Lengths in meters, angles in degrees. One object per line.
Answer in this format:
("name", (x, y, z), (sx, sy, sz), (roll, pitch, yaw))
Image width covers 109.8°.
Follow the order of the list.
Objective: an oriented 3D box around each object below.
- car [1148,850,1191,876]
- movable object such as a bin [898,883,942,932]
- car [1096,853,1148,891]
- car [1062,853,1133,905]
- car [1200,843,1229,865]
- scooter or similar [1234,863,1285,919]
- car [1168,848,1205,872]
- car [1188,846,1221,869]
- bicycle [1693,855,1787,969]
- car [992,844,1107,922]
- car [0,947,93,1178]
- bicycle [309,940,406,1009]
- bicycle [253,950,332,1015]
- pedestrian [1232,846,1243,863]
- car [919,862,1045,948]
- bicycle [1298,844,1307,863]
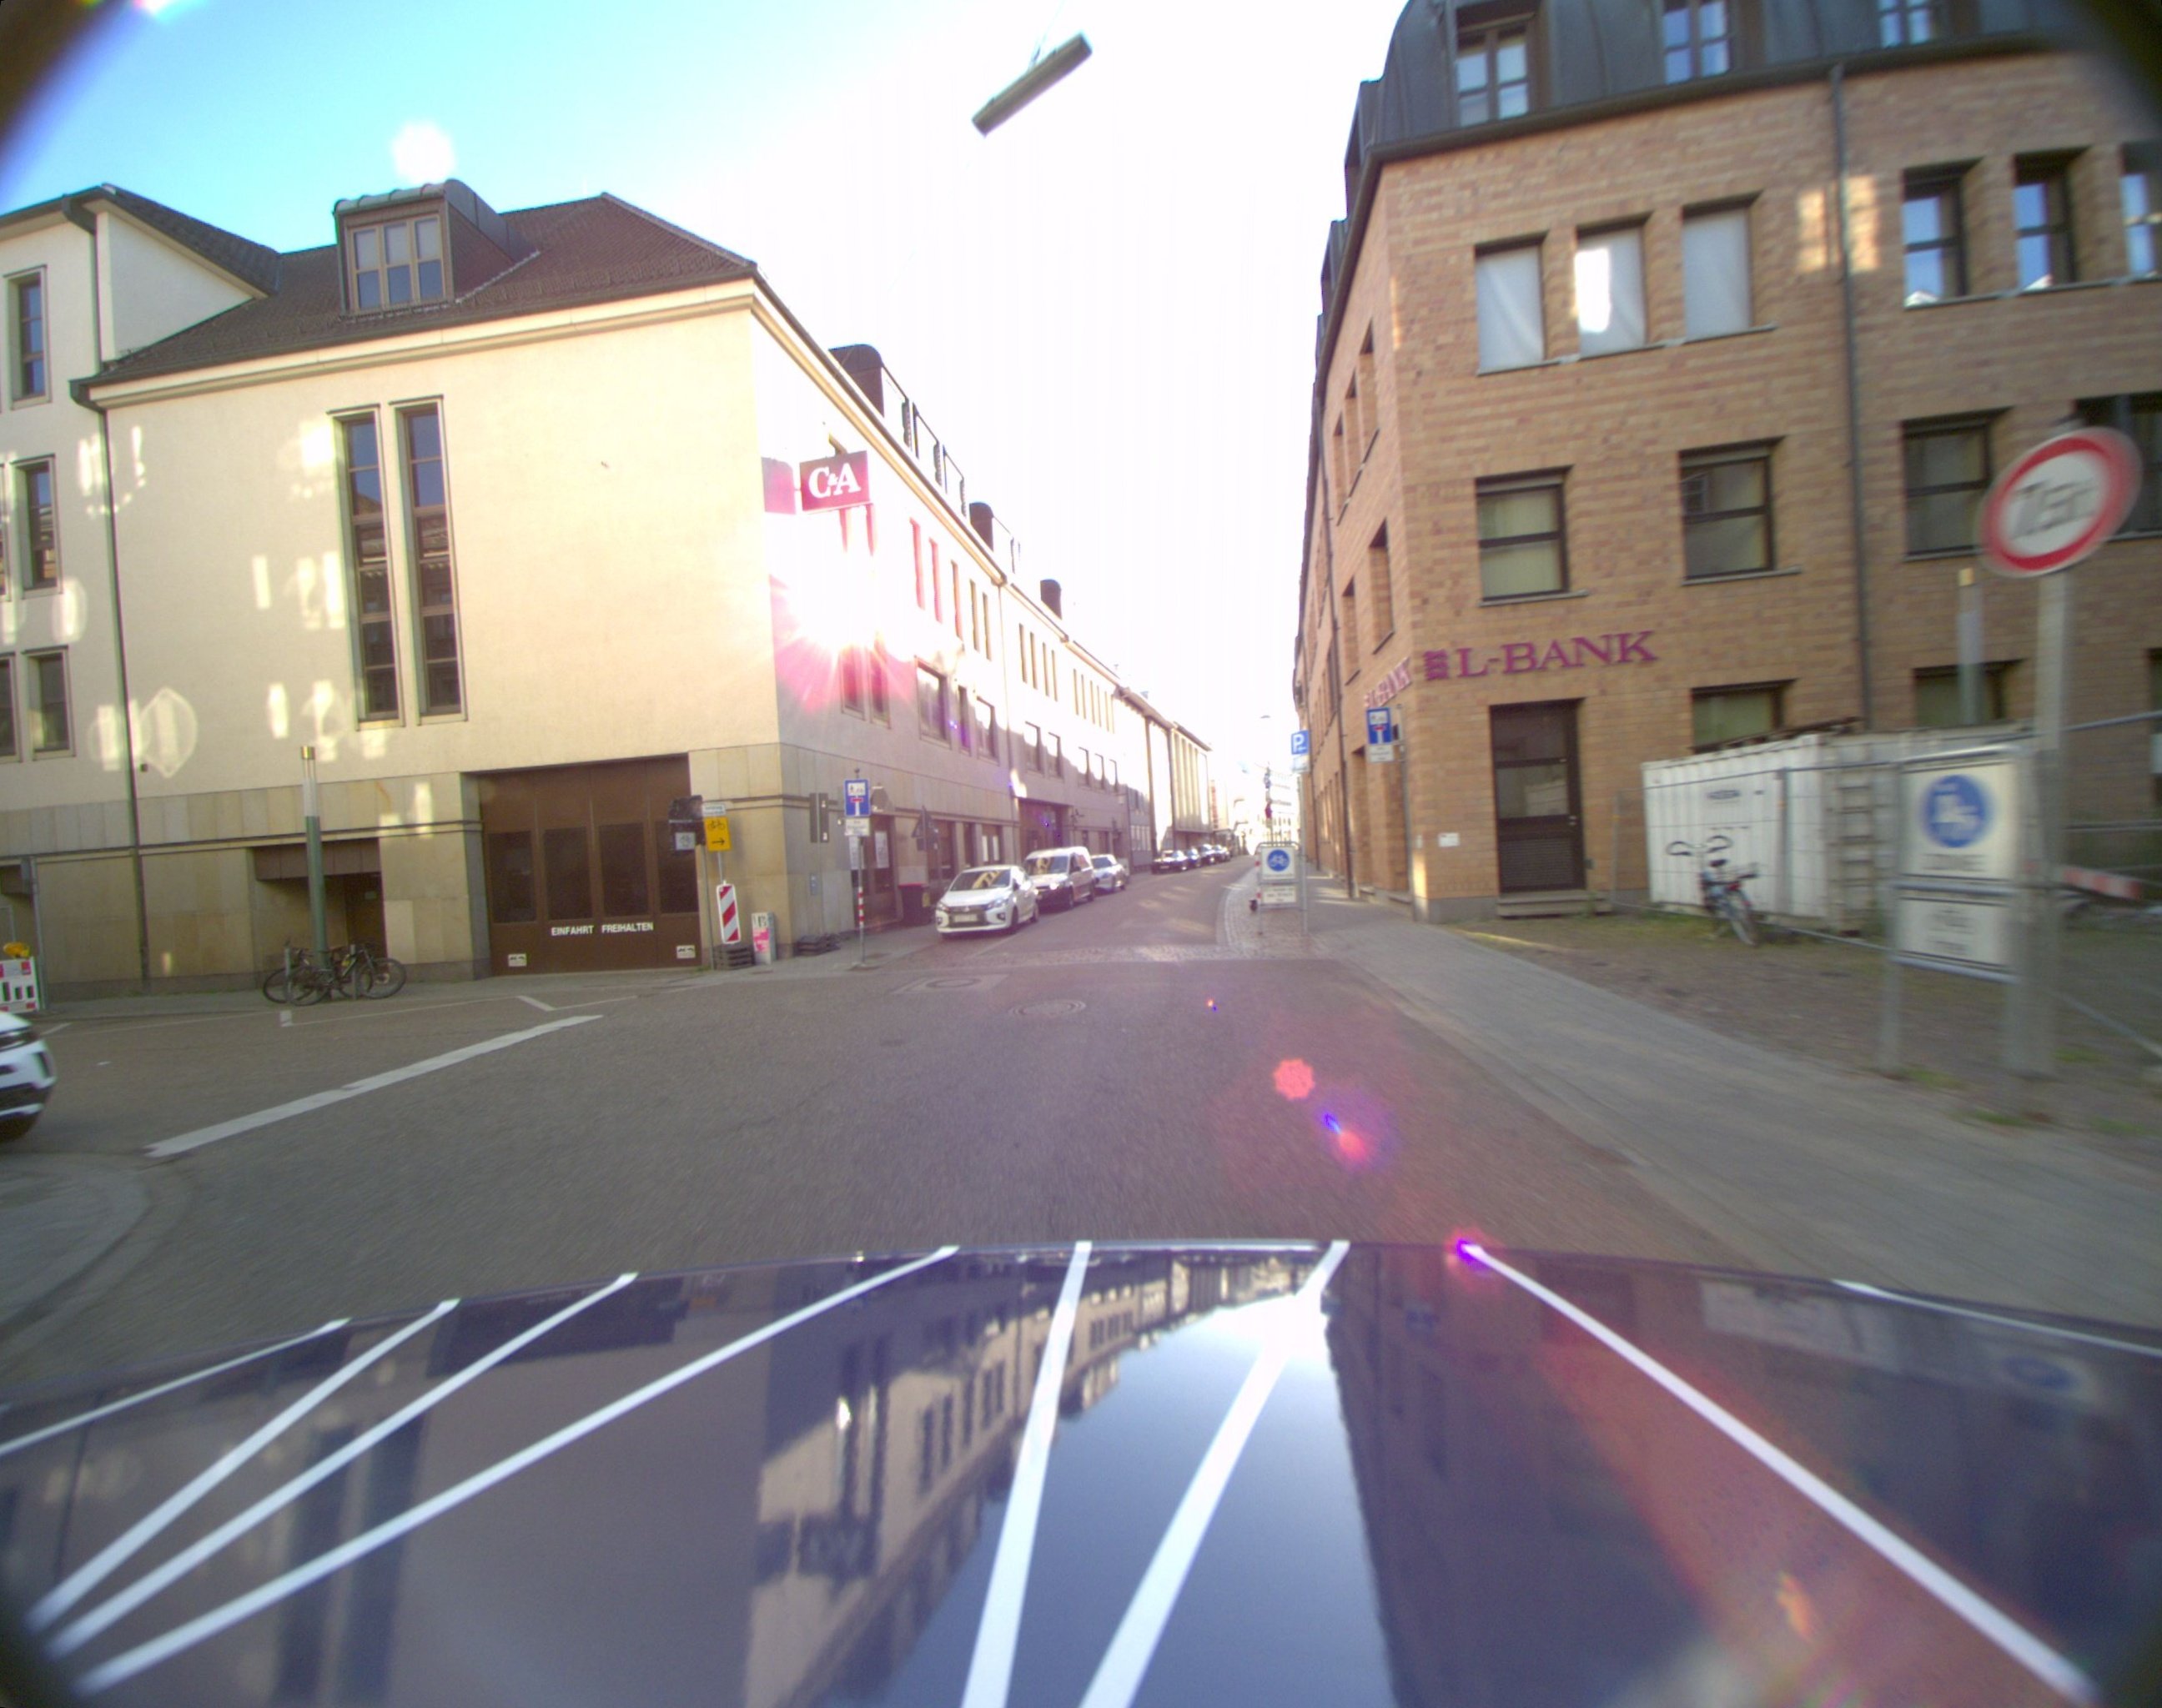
("car", (5.774, 0.559, 49.280), (1.963, 1.400, 4.200), (-5, 0, 16))
("movable object such as a bin", (-3.979, 1.316, 18.834), (0.687, 1.079, 0.930), (-5, 0, 9))
("car", (2.182, 0.871, 39.209), (1.774, 1.574, 3.860), (-8, -1, 14))
("car", (0.700, 0.901, 29.251), (1.774, 1.574, 3.859), (-8, -1, 13))
("car", (12.006, -0.020, 68.030), (1.963, 1.637, 4.200), (-5, 0, 16))
("scooter or similar", (4.165, 0.852, 17.724), (1.302, 1.217, 0.467), (-2, 0, -43))
("car", (7.742, 0.399, 55.534), (1.963, 1.400, 4.200), (-5, 0, 16))
("car", (9.976, 0.277, 61.207), (1.963, 1.527, 4.200), (-5, 0, 16))
("bicycle", (7.558, 0.624, 8.769), (0.431, 1.137, 1.593), (-4, 0, 29))
("car", (-0.794, 0.757, 23.156), (1.946, 1.850, 5.199), (-8, -1, 13))
("car", (-9.684, 1.642, 5.223), (4.076, 1.559, 1.768), (-4, 0, 10))
("bicycle", (-12.376, 2.066, 12.994), (1.648, 1.067, 0.488), (-5, 0, 22))
("bicycle", (-13.317, 2.160, 12.829), (1.419, 1.002, 0.471), (-5, 0, 27))
("pedestrian", (18.811, 0.101, 91.472), (0.944, 2.002, 0.899), (-5, 1, -4))
("car", (-2.112, 1.056, 17.358), (1.734, 1.539, 4.002), (-5, 0, 8))
("bicycle", (14.433, -0.039, 49.452), (0.431, 1.137, 1.692), (-4, 0, 17))
